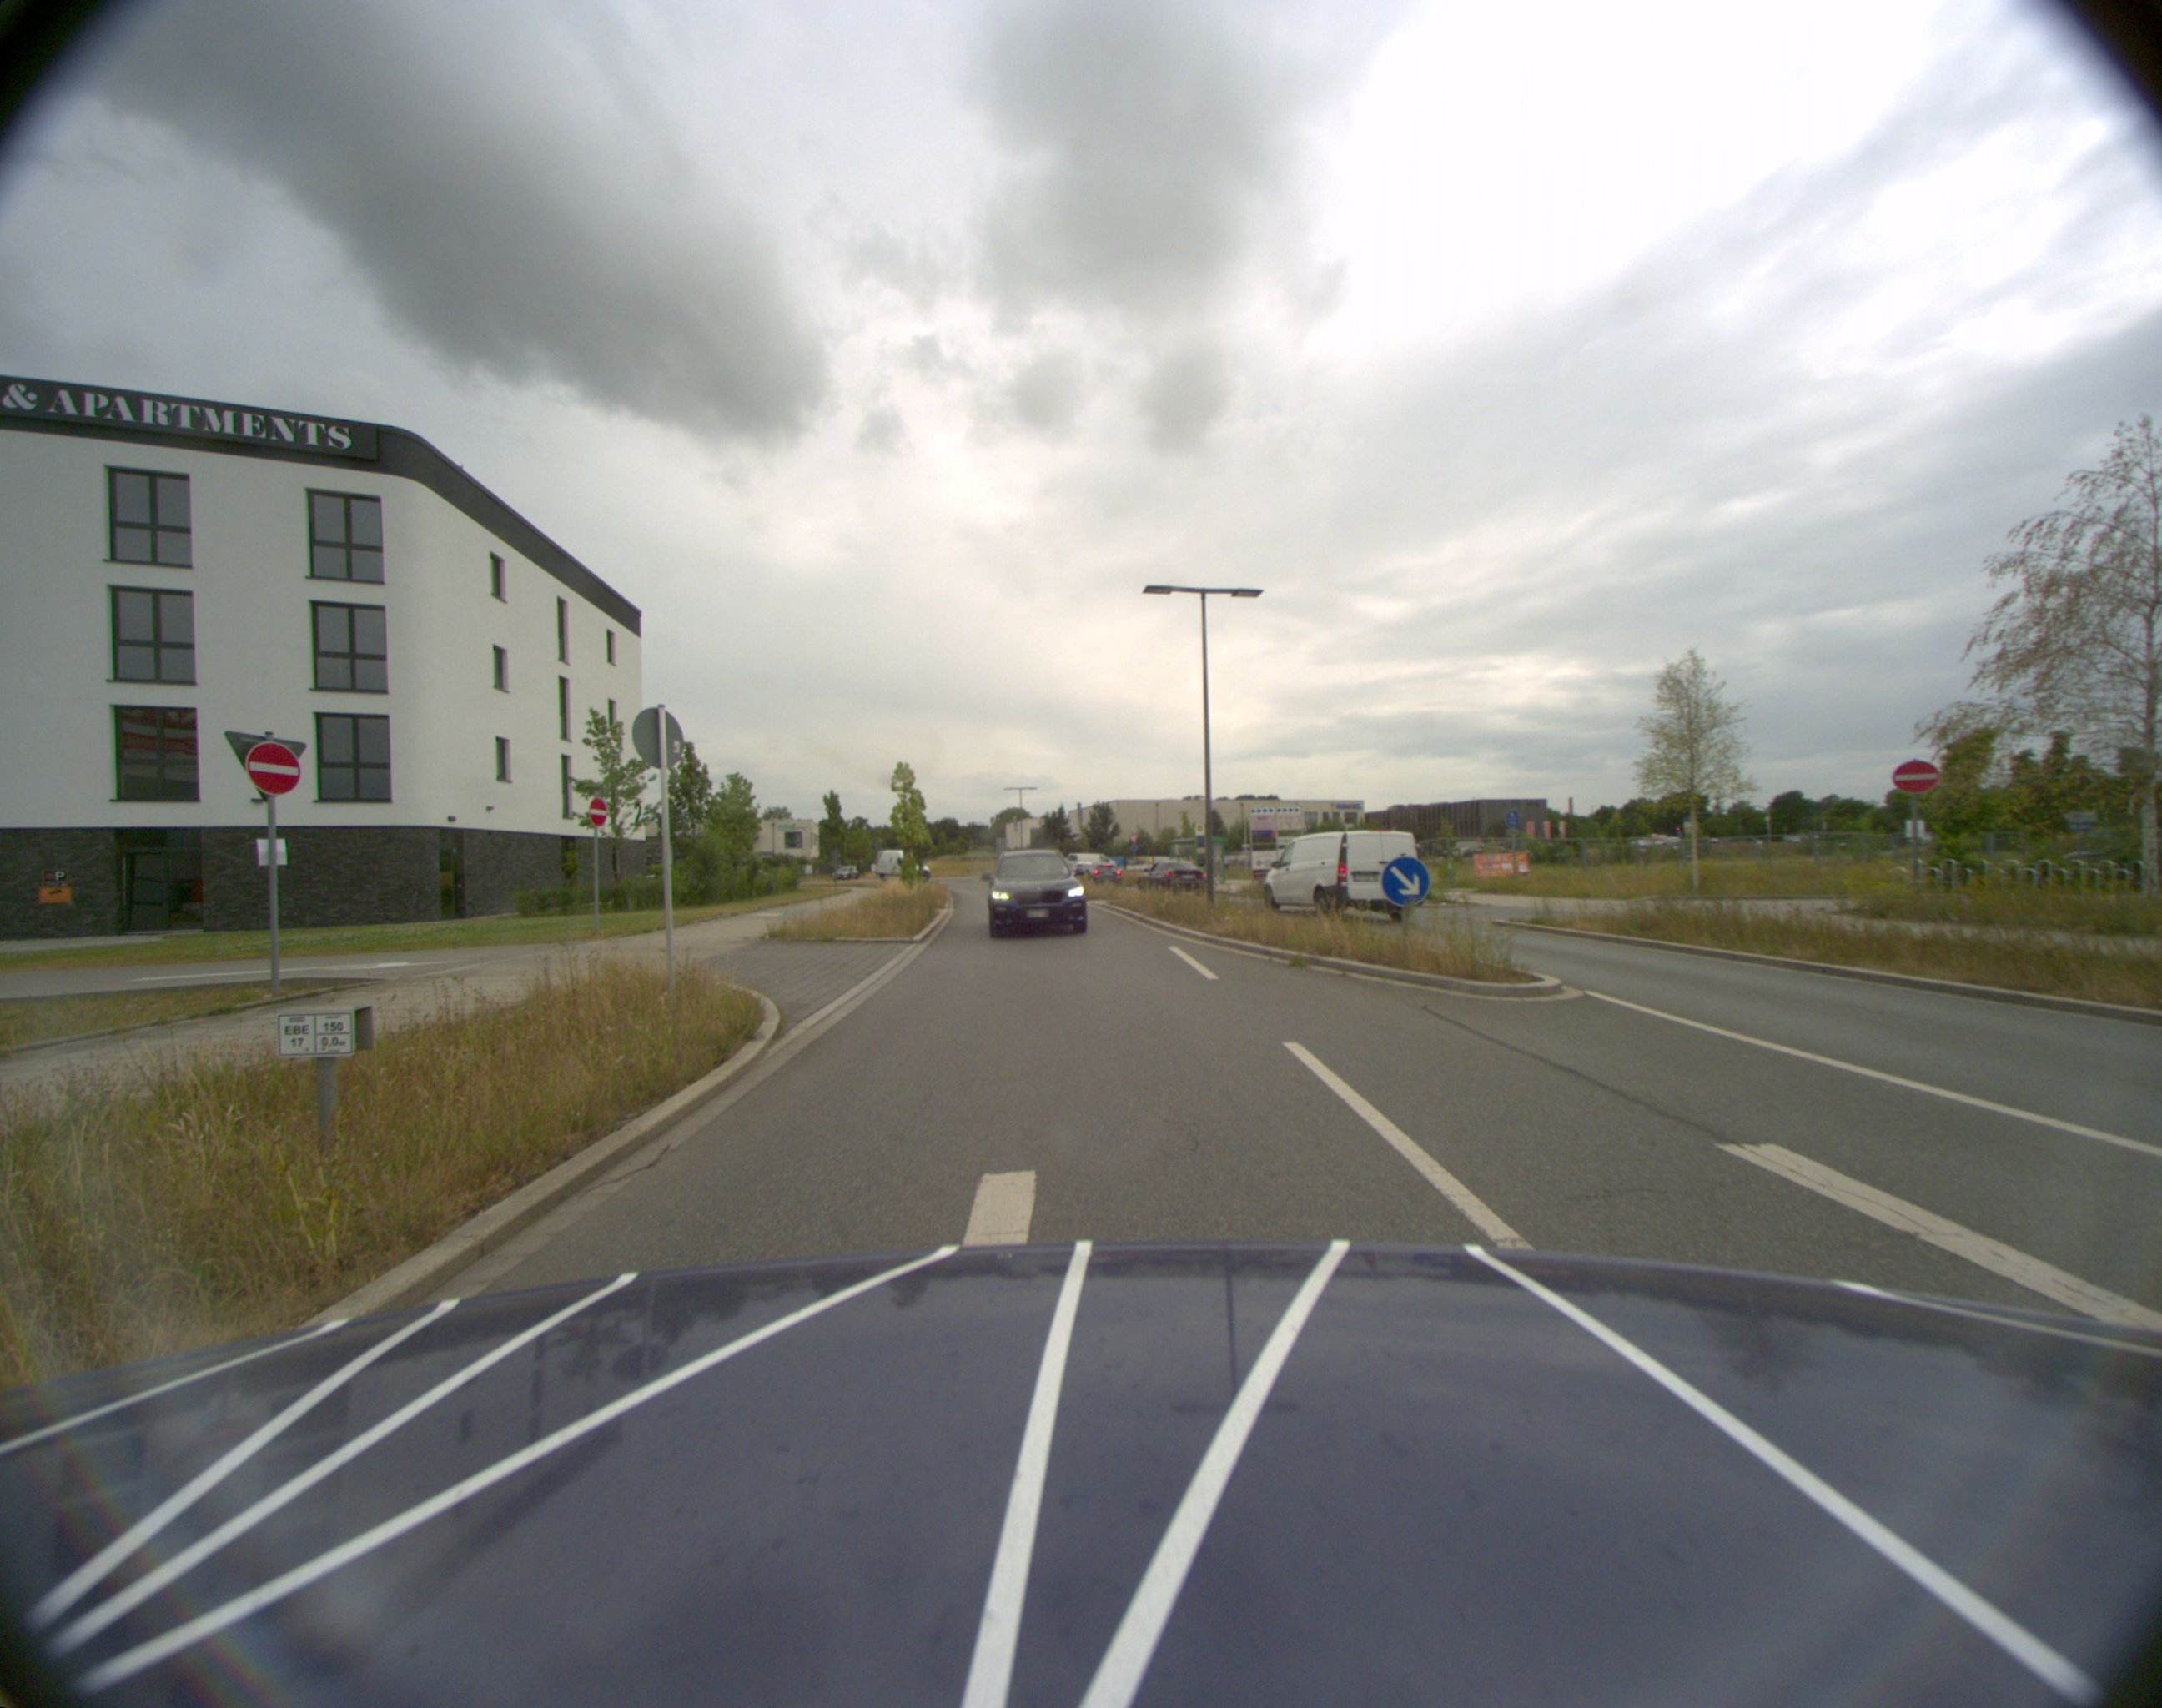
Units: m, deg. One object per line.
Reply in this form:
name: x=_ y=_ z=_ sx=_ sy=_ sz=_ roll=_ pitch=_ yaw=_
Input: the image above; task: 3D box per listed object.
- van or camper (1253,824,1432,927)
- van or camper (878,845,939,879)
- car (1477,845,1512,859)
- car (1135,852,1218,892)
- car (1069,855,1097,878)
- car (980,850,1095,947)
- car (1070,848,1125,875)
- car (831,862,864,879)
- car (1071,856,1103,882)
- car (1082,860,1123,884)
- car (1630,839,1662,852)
van or camper: x=5.771 y=0.414 z=17.581 sx=1.952 sy=1.996 sz=5.125 roll=-1 pitch=0 yaw=-6
van or camper: x=-14.173 y=0.656 z=62.252 sx=2.270 sy=2.601 sz=5.681 roll=-2 pitch=1 yaw=-43
car: x=55.308 y=-0.312 z=101.616 sx=4.004 sy=1.707 sz=1.996 roll=-3 pitch=1 yaw=-24
car: x=3.865 y=0.685 z=31.771 sx=2.172 sy=1.474 sz=4.899 roll=-1 pitch=0 yaw=-8
car: x=0.098 y=0.974 z=60.062 sx=1.999 sy=1.608 sz=3.999 roll=-2 pitch=1 yaw=-2
car: x=-0.847 y=0.797 z=15.706 sx=1.999 sy=1.654 sz=3.999 roll=-3 pitch=0 yaw=-2
car: x=1.534 y=0.662 z=69.333 sx=4.597 sy=2.231 sz=1.995 roll=-3 pitch=1 yaw=-35
car: x=-24.572 y=1.764 z=80.119 sx=1.998 sy=1.576 sz=4.000 roll=-2 pitch=1 yaw=2
car: x=0.378 y=1.034 z=53.293 sx=1.999 sy=1.608 sz=3.999 roll=-2 pitch=1 yaw=-2
car: x=1.274 y=1.070 z=46.730 sx=1.789 sy=1.313 sz=3.996 roll=-2 pitch=1 yaw=-9
car: x=82.573 y=-1.295 z=110.993 sx=4.004 sy=1.707 sz=1.996 roll=-3 pitch=1 yaw=-24
